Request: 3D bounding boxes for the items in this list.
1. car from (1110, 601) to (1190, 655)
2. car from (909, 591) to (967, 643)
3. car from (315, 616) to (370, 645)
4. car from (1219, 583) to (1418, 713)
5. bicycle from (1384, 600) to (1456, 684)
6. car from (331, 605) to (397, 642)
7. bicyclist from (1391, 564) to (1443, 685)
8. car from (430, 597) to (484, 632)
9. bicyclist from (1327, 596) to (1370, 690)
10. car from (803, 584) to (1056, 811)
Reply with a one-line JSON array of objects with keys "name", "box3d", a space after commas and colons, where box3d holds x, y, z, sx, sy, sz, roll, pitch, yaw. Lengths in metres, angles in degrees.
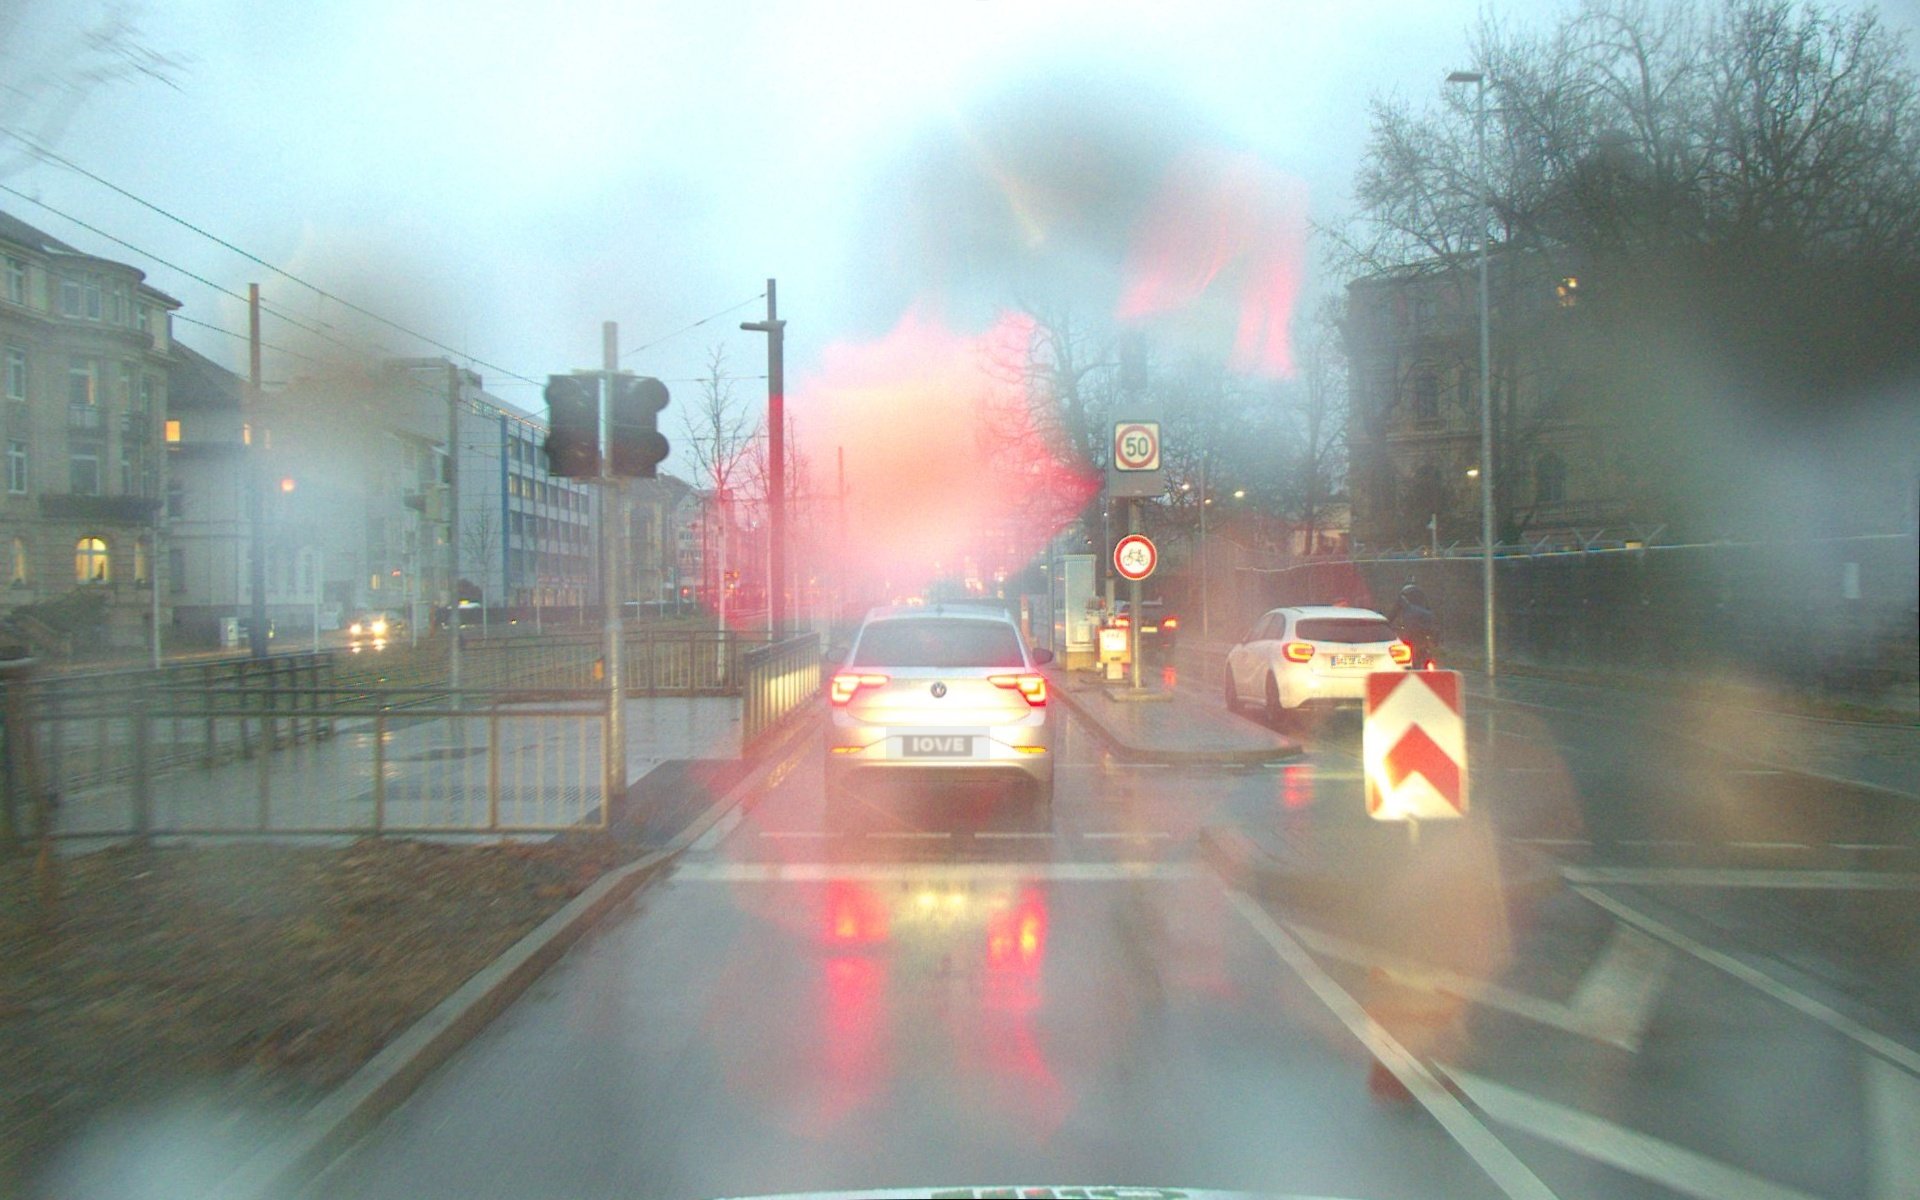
[{"name": "car", "box3d": [4.904, 0.714, 43.040, 1.590, 1.322, 3.999, 1, -1, 0]}, {"name": "car", "box3d": [-0.657, 0.527, 50.864, 1.687, 1.505, 3.999, 1, -1, 0]}, {"name": "car", "box3d": [-34.329, 1.665, 91.979, 1.770, 1.461, 3.924, -2, 0, -4]}, {"name": "car", "box3d": [4.547, 0.587, 21.532, 1.687, 1.505, 3.999, 1, -1, 0]}, {"name": "bicycle", "box3d": [6.959, 0.618, 25.111, 0.403, 1.206, 2.028, -1, 0, -3]}, {"name": "car", "box3d": [-29.642, 1.141, 82.403, 1.954, 1.722, 4.108, -2, 0, -4]}, {"name": "bicyclist", "box3d": [6.946, 0.369, 25.160, 0.490, 1.798, 0.836, -1, 0, -4]}, {"name": "car", "box3d": [-30.006, 0.823, 98.880, 1.954, 1.966, 4.908, -2, 0, -4]}, {"name": "bicyclist", "box3d": [6.866, 0.754, 29.245, 0.490, 1.619, 0.836, -1, 0, -4]}, {"name": "car", "box3d": [-0.216, 0.696, 13.208, 1.687, 1.505, 3.999, 1, -1, 0]}]
